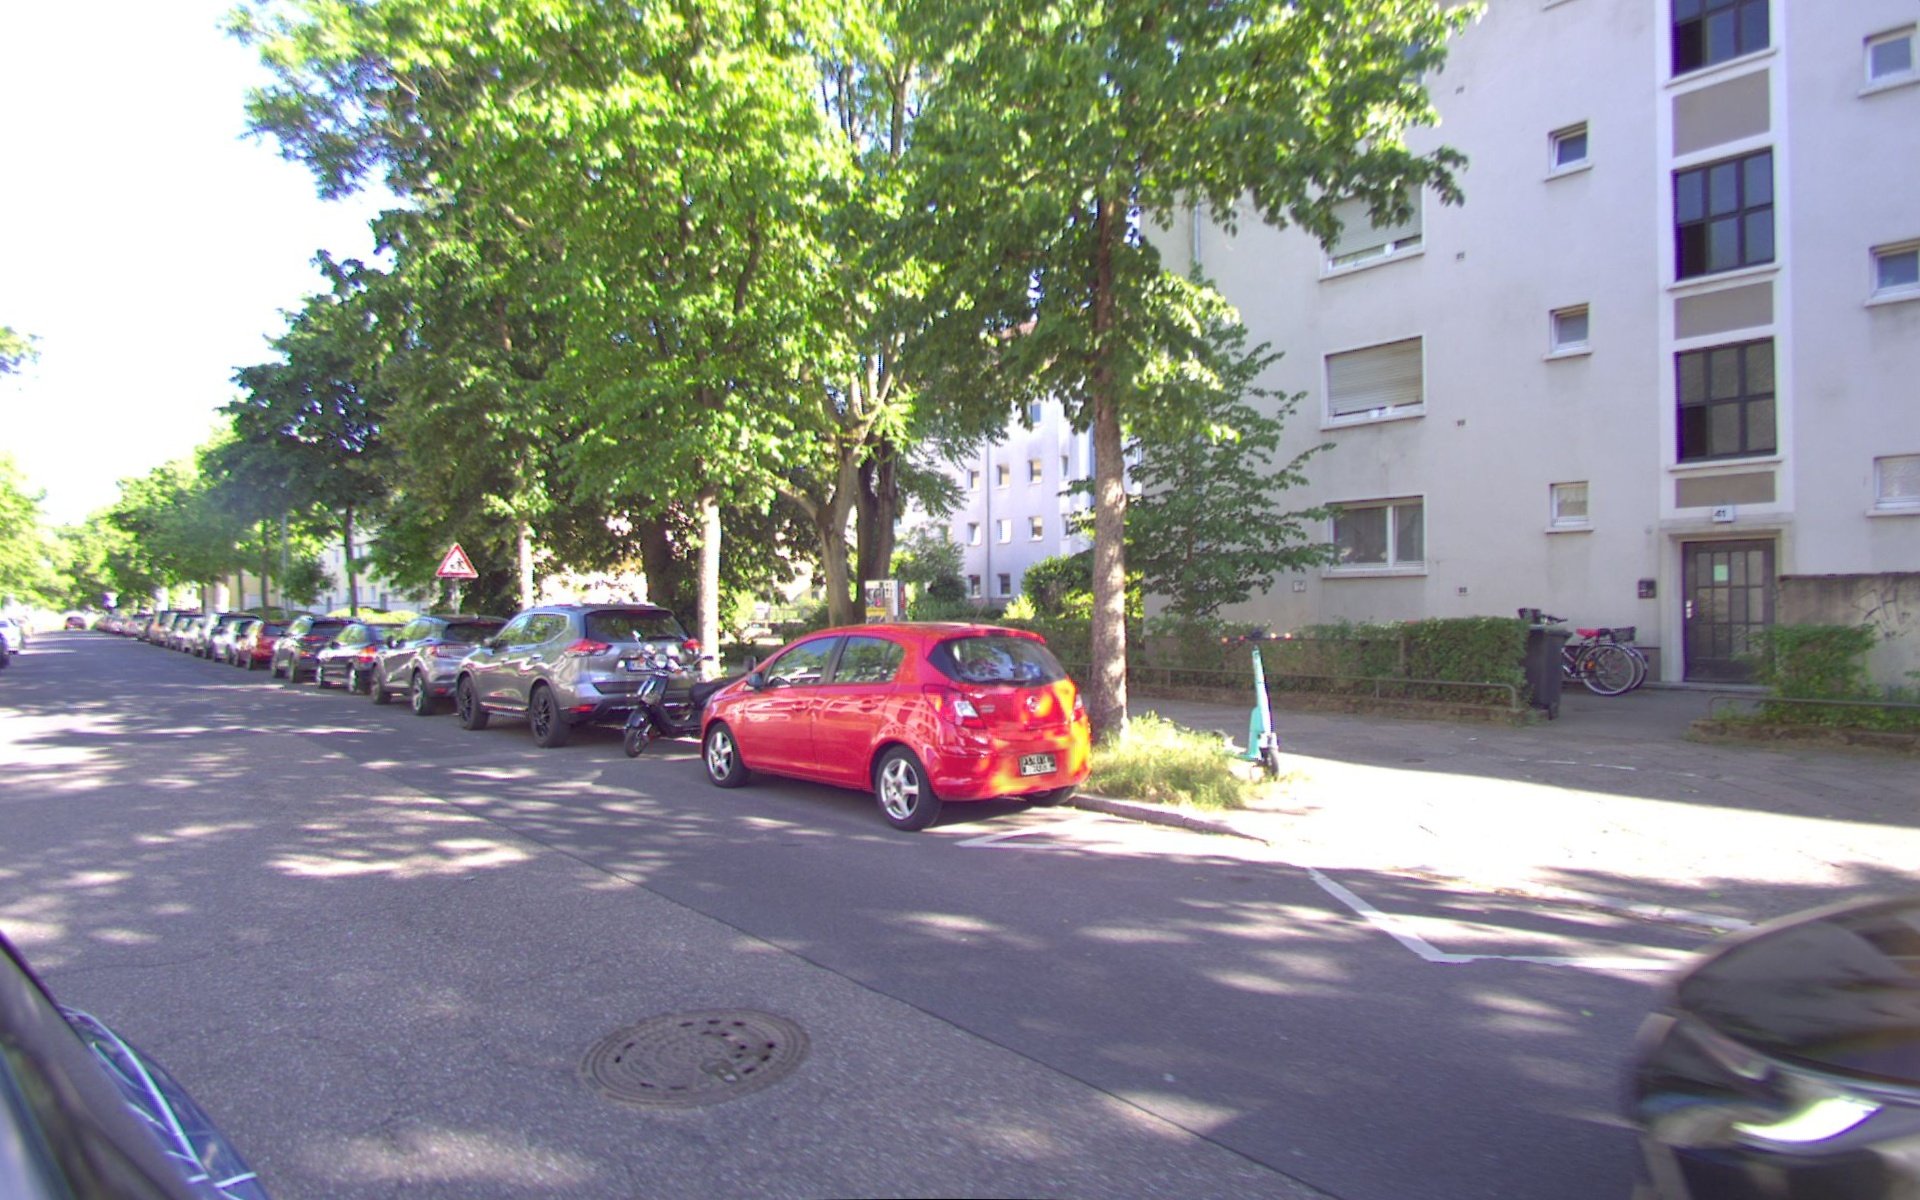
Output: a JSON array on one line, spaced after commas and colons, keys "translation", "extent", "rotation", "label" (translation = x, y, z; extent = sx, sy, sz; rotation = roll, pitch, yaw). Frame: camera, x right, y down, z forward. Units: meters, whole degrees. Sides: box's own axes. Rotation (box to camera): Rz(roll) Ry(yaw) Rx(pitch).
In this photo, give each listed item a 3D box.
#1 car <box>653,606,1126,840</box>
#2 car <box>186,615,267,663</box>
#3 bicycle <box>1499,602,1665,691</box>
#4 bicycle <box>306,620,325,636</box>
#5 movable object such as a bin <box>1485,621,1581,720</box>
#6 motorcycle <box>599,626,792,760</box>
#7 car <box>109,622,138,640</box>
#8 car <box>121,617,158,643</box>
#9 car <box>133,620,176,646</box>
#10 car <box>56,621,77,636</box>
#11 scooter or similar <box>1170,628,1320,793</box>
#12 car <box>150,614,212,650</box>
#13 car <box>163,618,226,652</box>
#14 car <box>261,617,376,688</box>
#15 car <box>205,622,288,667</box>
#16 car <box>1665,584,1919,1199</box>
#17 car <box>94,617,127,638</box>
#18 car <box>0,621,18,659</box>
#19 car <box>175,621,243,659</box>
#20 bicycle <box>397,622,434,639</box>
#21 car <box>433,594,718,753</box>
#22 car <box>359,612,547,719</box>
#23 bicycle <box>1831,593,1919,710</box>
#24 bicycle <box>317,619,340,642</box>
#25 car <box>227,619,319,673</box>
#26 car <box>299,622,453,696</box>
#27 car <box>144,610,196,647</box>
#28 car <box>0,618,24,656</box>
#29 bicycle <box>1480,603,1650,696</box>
[{"translation": [-0.820, 0.827, 8.648], "extent": [1.834, 1.481, 4.187], "rotation": [0, -1, -42], "label": "car"}, {"translation": [-27.326, 1.389, 37.626], "extent": [1.820, 1.669, 5.092], "rotation": [1, -1, -43], "label": "car"}, {"translation": [8.955, 0.645, 14.634], "extent": [0.677, 1.210, 1.914], "rotation": [0, -1, -40], "label": "bicycle"}, {"translation": [-37.288, 1.616, 58.522], "extent": [0.588, 0.923, 1.905], "rotation": [1, -2, -44], "label": "bicycle"}, {"translation": [6.552, 0.781, 11.581], "extent": [0.685, 1.076, 0.761], "rotation": [0, -1, -41], "label": "movable object such as a bin"}, {"translation": [-2.912, 0.975, 11.215], "extent": [1.927, 1.342, 0.789], "rotation": [0, -1, -35], "label": "motorcycle"}, {"translation": [-66.197, 2.444, 80.080], "extent": [1.583, 1.401, 3.816], "rotation": [0, -1, -43], "label": "car"}, {"translation": [-56.835, 2.042, 70.083], "extent": [1.836, 1.741, 4.005], "rotation": [2, -2, -41], "label": "car"}, {"translation": [-48.872, 2.002, 61.382], "extent": [1.754, 1.482, 4.068], "rotation": [3, -3, -42], "label": "car"}, {"translation": [-94.670, 2.999, 107.270], "extent": [1.641, 1.476, 3.452], "rotation": [1, -1, -41], "label": "car"}, {"translation": [2.388, 0.881, 8.661], "extent": [0.547, 1.244, 1.518], "rotation": [0, -1, -13], "label": "scooter or similar"}, {"translation": [-38.135, 1.537, 49.487], "extent": [4.528, 1.698, 1.773], "rotation": [-1, -1, 44], "label": "car"}, {"translation": [-34.274, 1.536, 45.280], "extent": [1.772, 1.463, 4.493], "rotation": [1, -1, -43], "label": "car"}, {"translation": [-15.860, 1.216, 24.923], "extent": [1.685, 1.589, 4.487], "rotation": [1, -1, -42], "label": "car"}, {"translation": [-23.795, 1.436, 33.691], "extent": [1.634, 1.384, 4.192], "rotation": [1, -1, -44], "label": "car"}, {"translation": [3.214, 0.703, 0.561], "extent": [1.787, 1.457, 4.370], "rotation": [2, -2, -44], "label": "car"}, {"translation": [-77.694, 2.484, 92.534], "extent": [3.916, 1.821, 1.865], "rotation": [-1, -1, 44], "label": "car"}, {"translation": [-40.861, 1.681, 42.395], "extent": [4.688, 1.529, 1.761], "rotation": [-1, 0, 44], "label": "car"}, {"translation": [-30.881, 1.601, 41.566], "extent": [1.686, 1.492, 4.493], "rotation": [1, -1, -44], "label": "car"}, {"translation": [-29.964, 1.683, 55.693], "extent": [1.688, 0.876, 0.586], "rotation": [-1, 0, -42], "label": "bicycle"}, {"translation": [-5.163, 0.827, 13.169], "extent": [1.747, 1.701, 4.818], "rotation": [1, -1, -43], "label": "car"}, {"translation": [-8.657, 1.002, 17.074], "extent": [1.747, 1.543, 4.425], "rotation": [0, -1, -42], "label": "car"}, {"translation": [10.919, 0.564, 11.178], "extent": [0.393, 1.299, 1.916], "rotation": [0, -1, -43], "label": "bicycle"}, {"translation": [-33.514, 1.606, 53.709], "extent": [0.588, 1.199, 2.263], "rotation": [1, -2, -44], "label": "bicycle"}, {"translation": [-20.579, 1.319, 30.251], "extent": [1.634, 1.516, 4.072], "rotation": [1, -1, -44], "label": "car"}, {"translation": [-12.273, 1.158, 21.131], "extent": [1.764, 1.363, 4.485], "rotation": [1, -1, -44], "label": "car"}, {"translation": [-41.568, 1.498, 53.241], "extent": [1.772, 1.864, 4.872], "rotation": [1, -1, -42], "label": "car"}, {"translation": [-44.774, 1.715, 46.836], "extent": [1.874, 1.660, 4.869], "rotation": [-1, 0, -40], "label": "car"}, {"translation": [8.430, 0.659, 14.172], "extent": [0.677, 1.210, 1.914], "rotation": [0, -1, -40], "label": "bicycle"}]
